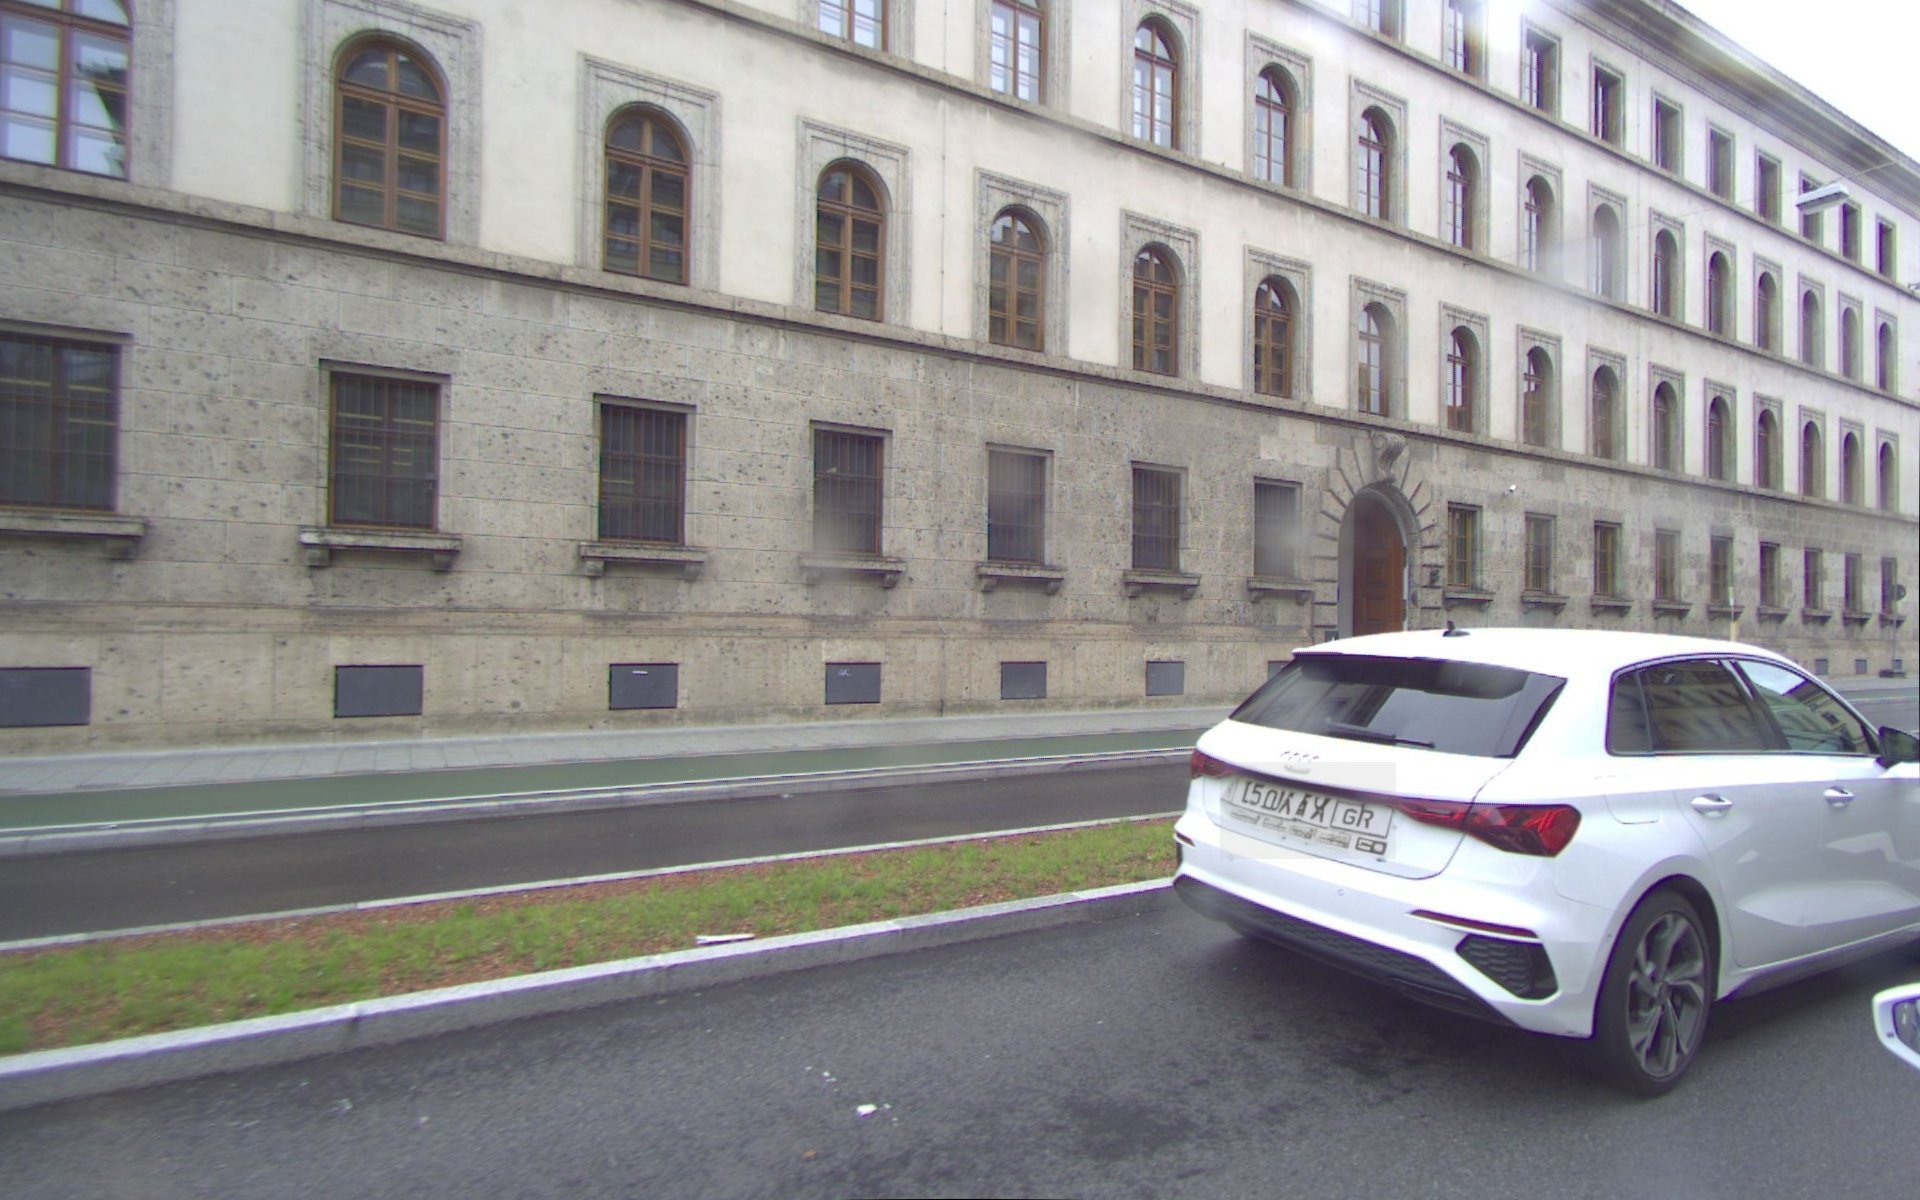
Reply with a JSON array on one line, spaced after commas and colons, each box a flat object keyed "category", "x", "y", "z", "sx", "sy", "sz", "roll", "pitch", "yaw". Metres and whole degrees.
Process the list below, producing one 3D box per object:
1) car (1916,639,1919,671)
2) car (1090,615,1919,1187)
[{"category": "car", "x": 57.082, "y": 3.170, "z": 57.191, "sx": 1.853, "sy": 1.822, "sz": 3.709, "roll": 2, "pitch": -2, "yaw": -40}, {"category": "car", "x": 2.888, "y": 0.838, "z": 4.507, "sx": 4.400, "sy": 1.443, "sz": 1.804, "roll": 1, "pitch": 0, "yaw": -31}]
